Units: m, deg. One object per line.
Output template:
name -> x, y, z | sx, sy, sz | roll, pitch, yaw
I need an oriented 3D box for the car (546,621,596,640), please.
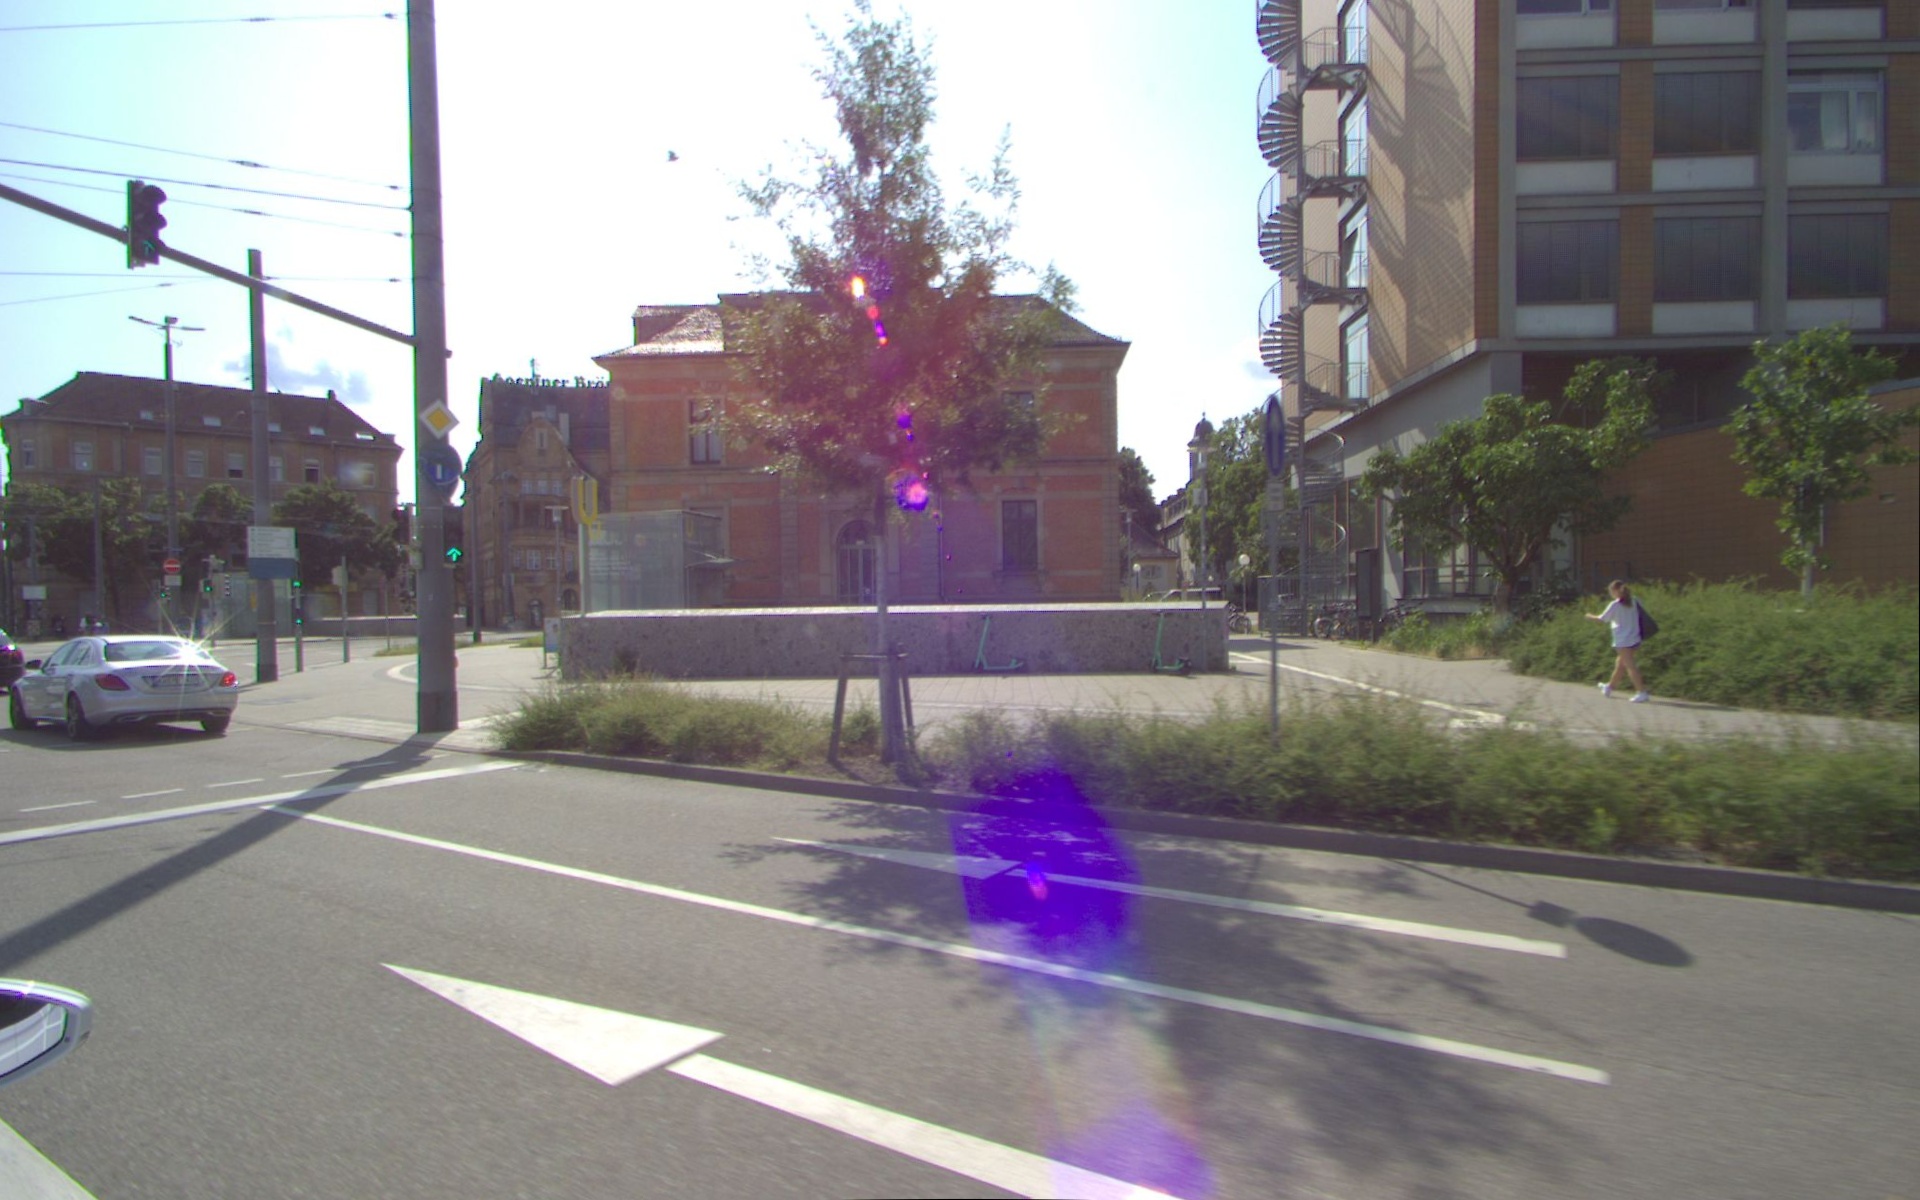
car -> -34.061, 2.653, 87.854 | 2.007, 1.448, 4.537 | -2, -1, 10

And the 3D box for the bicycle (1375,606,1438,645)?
bicycle -> 12.540, 0.714, 28.153 | 1.478, 1.002, 0.547 | -4, 1, -1

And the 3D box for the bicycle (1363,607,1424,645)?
bicycle -> 12.532, 0.746, 28.942 | 1.478, 1.002, 0.547 | -4, 1, -1

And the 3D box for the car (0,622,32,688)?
car -> -22.169, 1.196, 22.200 | 4.081, 1.390, 1.692 | -1, 0, 38

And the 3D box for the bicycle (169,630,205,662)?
bicycle -> -26.590, 1.561, 34.471 | 0.838, 0.983, 1.947 | -4, 2, -34

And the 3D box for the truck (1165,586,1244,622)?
truck -> 14.506, 0.264, 59.637 | 4.303, 2.039, 2.001 | -1, -2, 7

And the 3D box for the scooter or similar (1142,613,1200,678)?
scooter or similar -> 3.895, 0.820, 18.569 | 0.458, 1.119, 1.315 | -1, 1, -17

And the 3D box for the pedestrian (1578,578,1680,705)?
pedestrian -> 9.158, 0.540, 13.746 | 0.604, 1.645, 1.096 | -2, 2, -3

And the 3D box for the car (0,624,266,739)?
car -> -12.748, 1.130, 15.329 | 4.694, 1.474, 1.925 | -1, 0, 34

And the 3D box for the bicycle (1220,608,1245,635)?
bicycle -> 10.733, 0.830, 39.467 | 0.536, 1.002, 1.507 | -3, 0, 0

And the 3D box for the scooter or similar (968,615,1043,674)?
scooter or similar -> 0.900, 0.870, 19.747 | 1.419, 1.133, 0.465 | -1, 2, 9

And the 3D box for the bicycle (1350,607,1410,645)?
bicycle -> 12.477, 0.769, 29.765 | 1.478, 1.002, 0.547 | -4, 1, -1

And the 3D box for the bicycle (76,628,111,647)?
bicycle -> -36.074, 1.557, 41.684 | 1.597, 0.786, 0.584 | -1, 0, 30

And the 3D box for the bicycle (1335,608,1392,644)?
bicycle -> 12.306, 0.798, 30.584 | 1.478, 1.002, 0.547 | -4, 1, -1

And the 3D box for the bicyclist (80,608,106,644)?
bicyclist -> -36.051, 1.074, 41.647 | 0.763, 1.470, 0.607 | -1, 0, 30

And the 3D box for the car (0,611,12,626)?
car -> -110.028, 2.159, 114.789 | 1.823, 1.673, 3.966 | 0, -2, -41

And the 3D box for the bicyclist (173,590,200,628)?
bicyclist -> -26.591, 0.304, 34.416 | 0.628, 1.237, 0.917 | -3, 3, -35

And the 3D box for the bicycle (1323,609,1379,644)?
bicycle -> 12.209, 0.826, 31.311 | 1.478, 1.002, 0.547 | -4, 1, -1

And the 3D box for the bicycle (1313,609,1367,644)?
bicycle -> 12.167, 0.848, 32.084 | 1.478, 1.002, 0.547 | -4, 1, -1
